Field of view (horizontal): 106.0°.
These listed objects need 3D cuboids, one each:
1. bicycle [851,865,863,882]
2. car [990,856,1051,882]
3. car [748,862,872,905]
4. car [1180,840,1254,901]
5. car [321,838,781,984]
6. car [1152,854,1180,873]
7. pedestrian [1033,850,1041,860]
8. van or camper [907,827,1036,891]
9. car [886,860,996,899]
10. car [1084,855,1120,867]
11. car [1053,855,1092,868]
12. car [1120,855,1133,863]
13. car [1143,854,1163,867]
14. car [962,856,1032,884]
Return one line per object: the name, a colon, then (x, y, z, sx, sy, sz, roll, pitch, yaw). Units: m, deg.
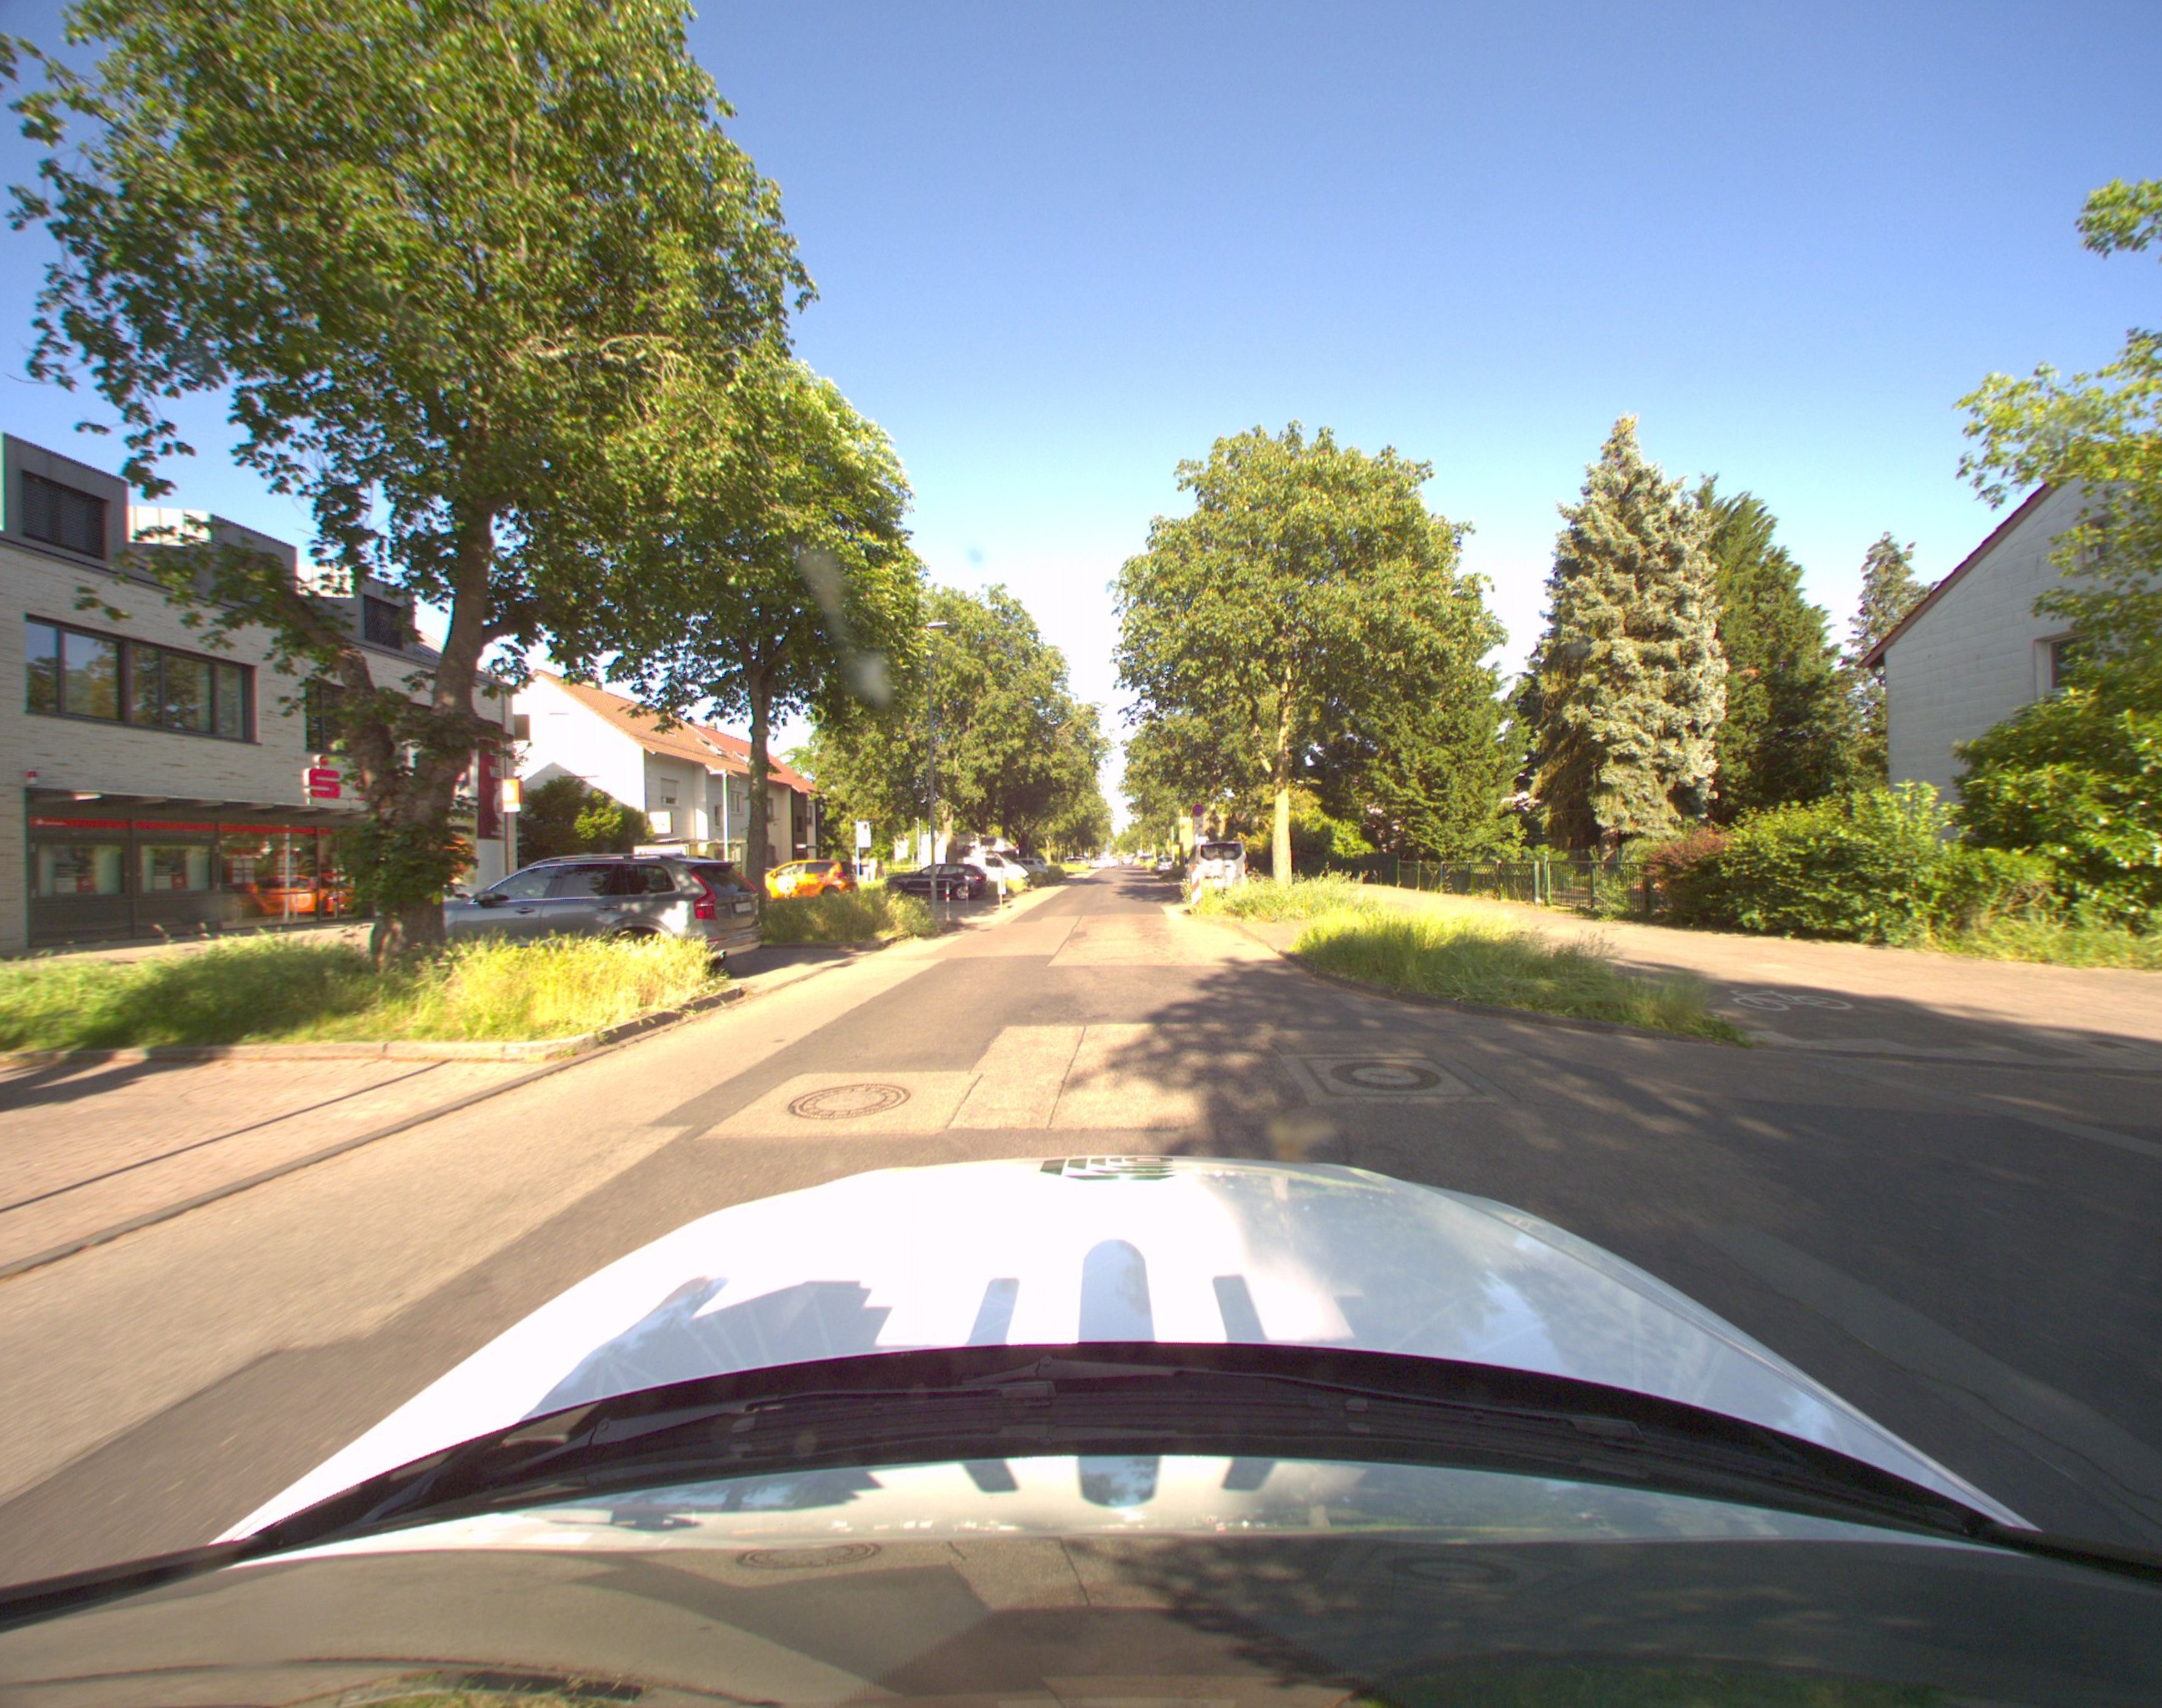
bicycle: (-16.944, 1.439, 61.609, 0.704, 1.176, 4.038, -1, 0, -13)
car: (-4.107, 1.006, 56.041, 3.972, 1.661, 1.968, -1, 0, 1)
car: (-9.967, 1.072, 30.215, 3.977, 1.542, 1.868, 0, -1, -3)
car: (4.911, 0.586, 30.206, 1.986, 2.014, 5.198, 2, -1, 2)
car: (-7.164, 0.745, 11.476, 5.046, 1.728, 1.999, 2, -1, -1)
car: (7.104, 0.787, 67.562, 1.981, 1.510, 4.011, -2, -1, 10)
pedestrian: (-7.955, 0.149, 146.376, 1.226, 1.827, 1.543, 1, -1, -14)
van or camper: (-5.240, 0.237, 39.336, 5.749, 2.805, 2.002, 2, -1, 4)
car: (-5.543, 1.004, 32.510, 3.967, 1.450, 1.642, 1, -1, 6)
car: (2.695, 0.871, 103.766, 4.172, 1.455, 2.012, -1, 0, 26)
car: (-1.040, 0.961, 102.258, 4.650, 1.503, 2.002, -1, -1, 4)
car: (8.355, 0.902, 149.742, 1.988, 1.508, 3.656, 2, -1, -1)
car: (9.428, 0.913, 107.187, 1.989, 1.622, 4.376, 2, -1, -3)
car: (-5.127, 0.978, 50.052, 3.972, 1.589, 2.001, 2, -1, 1)
